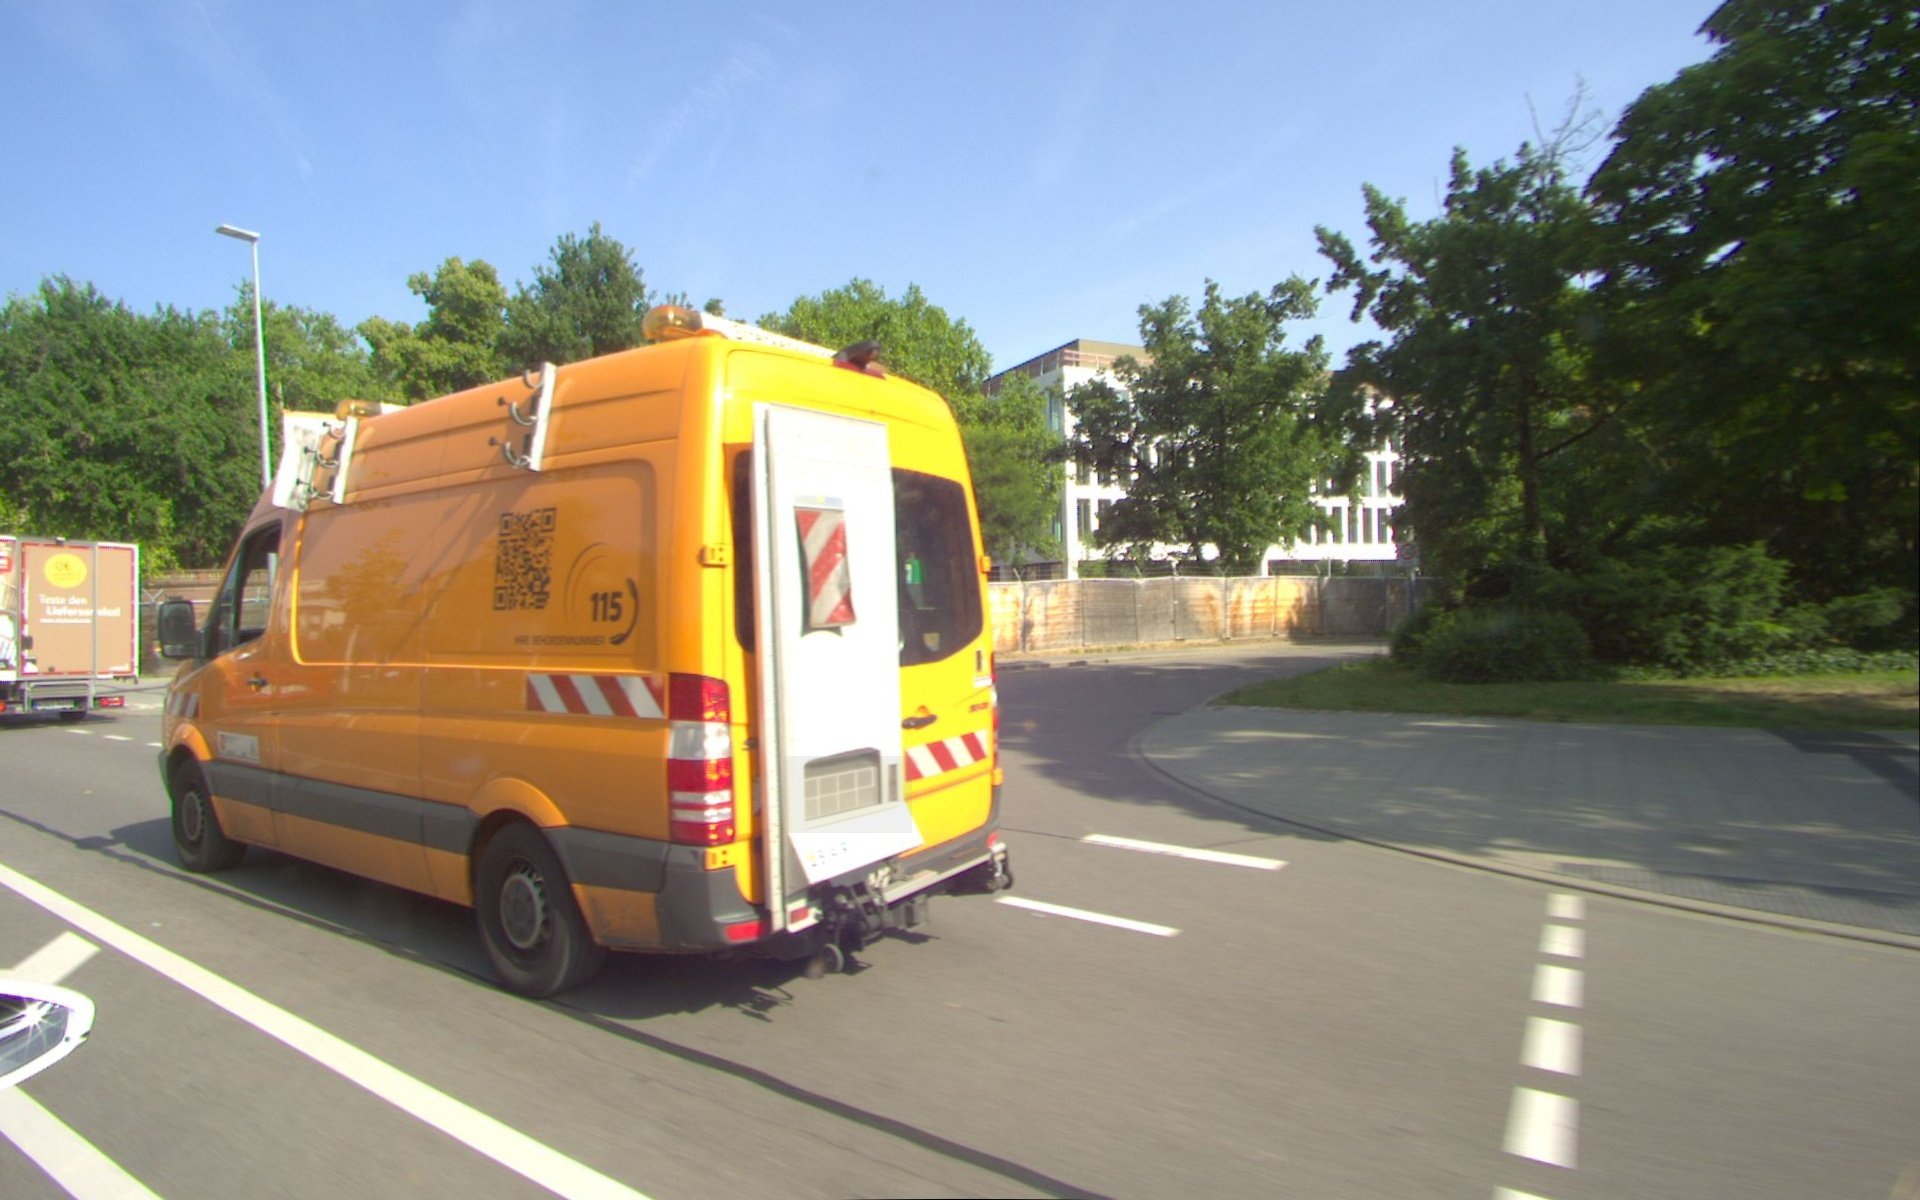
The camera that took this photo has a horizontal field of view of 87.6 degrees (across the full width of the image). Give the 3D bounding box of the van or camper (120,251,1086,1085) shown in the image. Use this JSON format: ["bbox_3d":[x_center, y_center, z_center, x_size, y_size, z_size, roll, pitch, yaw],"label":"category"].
[{"bbox_3d":[-2.416,0.276,5.554,5.980,2.504,1.981,-1,-2,35],"label":"van or camper"}]

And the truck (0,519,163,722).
[{"bbox_3d":[-17.617,0.449,17.943,7.702,3.099,2.500,-2,-2,29],"label":"truck"}]
